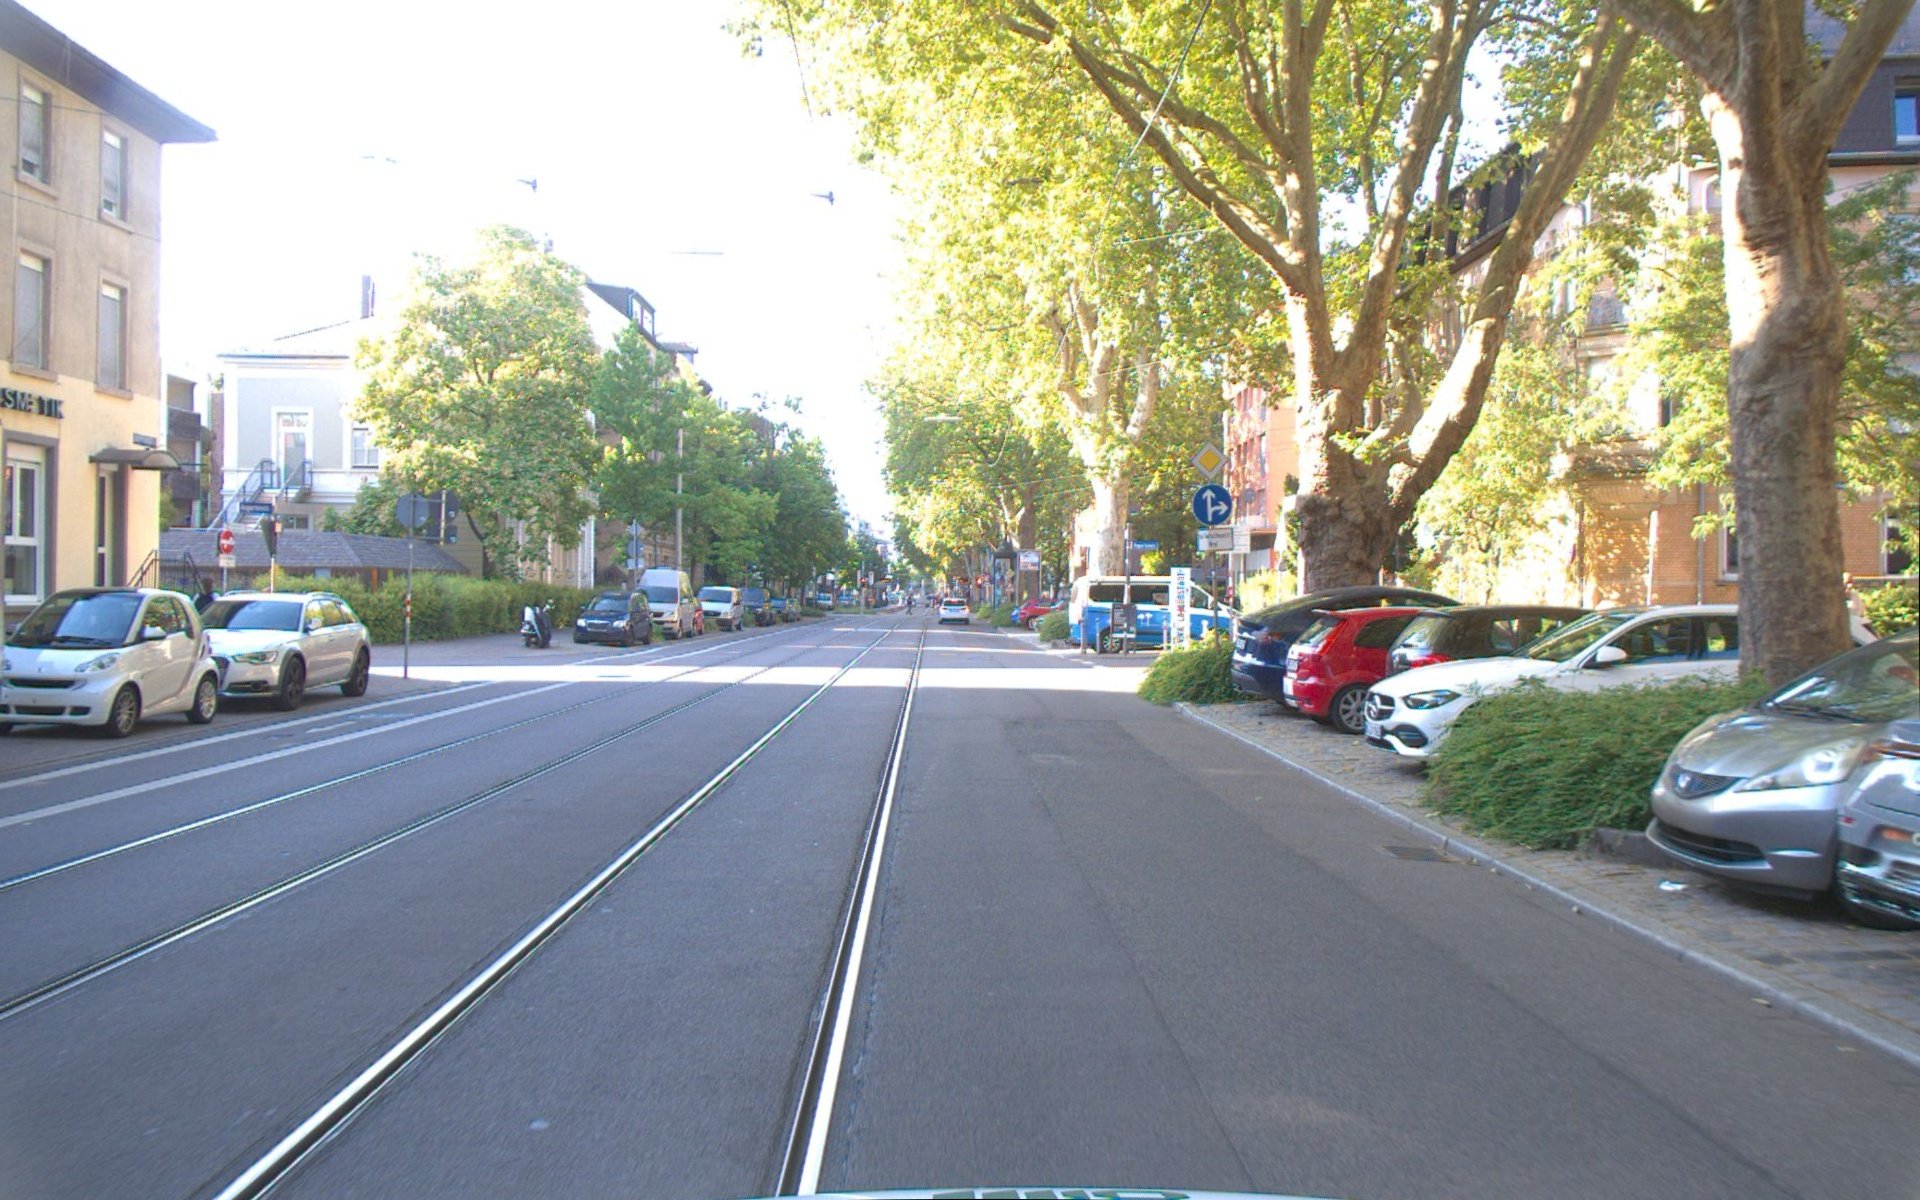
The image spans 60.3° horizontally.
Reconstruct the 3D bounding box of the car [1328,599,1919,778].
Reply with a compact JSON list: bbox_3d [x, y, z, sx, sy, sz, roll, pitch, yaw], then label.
[{"bbox_3d":[5.771,0.733,14.673,4.591,1.472,1.892,0,0,-1],"label":"car"}]

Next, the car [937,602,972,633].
[{"bbox_3d":[-0.335,0.979,93.195,1.879,1.612,3.790,-1,0,-1],"label":"car"}]

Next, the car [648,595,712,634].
[{"bbox_3d":[-10.931,0.545,64.766,1.838,1.486,4.206,0,0,-1],"label":"car"}]

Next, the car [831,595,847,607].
[{"bbox_3d":[-15.131,0.088,207.041,1.880,1.443,3.588,0,0,-3],"label":"car"}]

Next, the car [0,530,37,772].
[{"bbox_3d":[-9.230,0.439,12.305,1.914,2.127,5.246,3,1,-3],"label":"car"}]

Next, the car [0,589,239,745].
[{"bbox_3d":[-9.502,0.679,18.423,1.539,1.553,3.040,2,0,1],"label":"car"}]

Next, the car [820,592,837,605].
[{"bbox_3d":[-14.679,-0.164,184.955,1.880,1.443,3.588,0,0,-3],"label":"car"}]

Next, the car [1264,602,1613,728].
[{"bbox_3d":[5.558,0.728,19.537,3.575,1.402,1.889,0,0,-1],"label":"car"}]

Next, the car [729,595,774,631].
[{"bbox_3d":[-11.146,0.678,88.489,1.953,1.893,4.178,0,0,-1],"label":"car"}]

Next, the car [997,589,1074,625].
[{"bbox_3d":[3.885,0.343,85.828,3.906,1.816,2.000,0,0,-1],"label":"car"}]

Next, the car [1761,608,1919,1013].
[{"bbox_3d":[5.596,0.774,6.264,4.209,1.464,1.947,0,0,-2],"label":"car"}]

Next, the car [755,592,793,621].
[{"bbox_3d":[-11.698,0.375,104.403,1.953,1.775,4.658,0,0,-1],"label":"car"}]

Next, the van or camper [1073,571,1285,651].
[{"bbox_3d":[5.988,0.270,45.683,5.448,2.048,2.242,0,3,-6],"label":"van or camper"}]

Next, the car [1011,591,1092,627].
[{"bbox_3d":[4.527,0.439,82.578,3.906,1.816,2.000,0,0,-1],"label":"car"}]

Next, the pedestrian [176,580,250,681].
[{"bbox_3d":[-12.091,0.483,26.792,0.771,1.620,0.941,0,0,-1],"label":"pedestrian"}]

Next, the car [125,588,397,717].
[{"bbox_3d":[-9.522,0.633,23.035,1.800,1.494,5.066,3,0,-3],"label":"car"}]

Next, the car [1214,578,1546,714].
[{"bbox_3d":[5.434,0.571,21.758,3.845,1.699,1.960,0,0,-3],"label":"car"}]

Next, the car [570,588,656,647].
[{"bbox_3d":[-10.463,0.489,50.177,1.751,1.614,4.342,3,0,-2],"label":"car"}]

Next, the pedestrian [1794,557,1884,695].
[{"bbox_3d":[11.540,0.331,21.729,0.745,1.769,0.821,0,0,-1],"label":"pedestrian"}]

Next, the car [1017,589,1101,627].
[{"bbox_3d":[4.784,0.397,80.300,3.906,1.816,2.000,0,0,-1],"label":"car"}]

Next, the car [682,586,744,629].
[{"bbox_3d":[-11.033,0.309,74.176,2.129,1.893,4.658,0,0,-1],"label":"car"}]

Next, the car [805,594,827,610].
[{"bbox_3d":[-13.297,0.140,152.538,1.880,1.443,3.718,0,0,-3],"label":"car"}]

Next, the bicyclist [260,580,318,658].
[{"bbox_3d":[-15.301,0.421,37.757,1.027,1.735,1.055,0,0,-11],"label":"bicyclist"}]

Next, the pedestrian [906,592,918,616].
[{"bbox_3d":[-4.124,0.349,141.952,1.026,2.049,1.082,0,0,2],"label":"pedestrian"}]

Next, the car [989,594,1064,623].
[{"bbox_3d":[3.537,0.457,88.128,3.906,1.547,2.000,0,0,-1],"label":"car"}]

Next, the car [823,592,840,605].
[{"bbox_3d":[-14.698,-0.165,189.201,1.881,1.443,3.586,-2,-1,-6],"label":"car"}]

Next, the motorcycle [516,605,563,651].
[{"bbox_3d":[-11.693,0.758,46.037,0.748,1.126,2.329,1,2,-1],"label":"motorcycle"}]

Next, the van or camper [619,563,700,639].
[{"bbox_3d":[-10.729,0.021,59.405,2.037,2.577,5.316,0,0,-1],"label":"van or camper"}]

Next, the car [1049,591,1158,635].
[{"bbox_3d":[5.355,0.479,62.234,3.906,1.637,2.000,0,0,-1],"label":"car"}]

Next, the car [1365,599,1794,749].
[{"bbox_3d":[6.312,0.724,17.138,3.803,1.460,1.753,0,0,-1],"label":"car"}]

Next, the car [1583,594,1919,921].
[{"bbox_3d":[5.639,0.738,8.708,4.058,1.535,1.796,0,0,-1],"label":"car"}]
